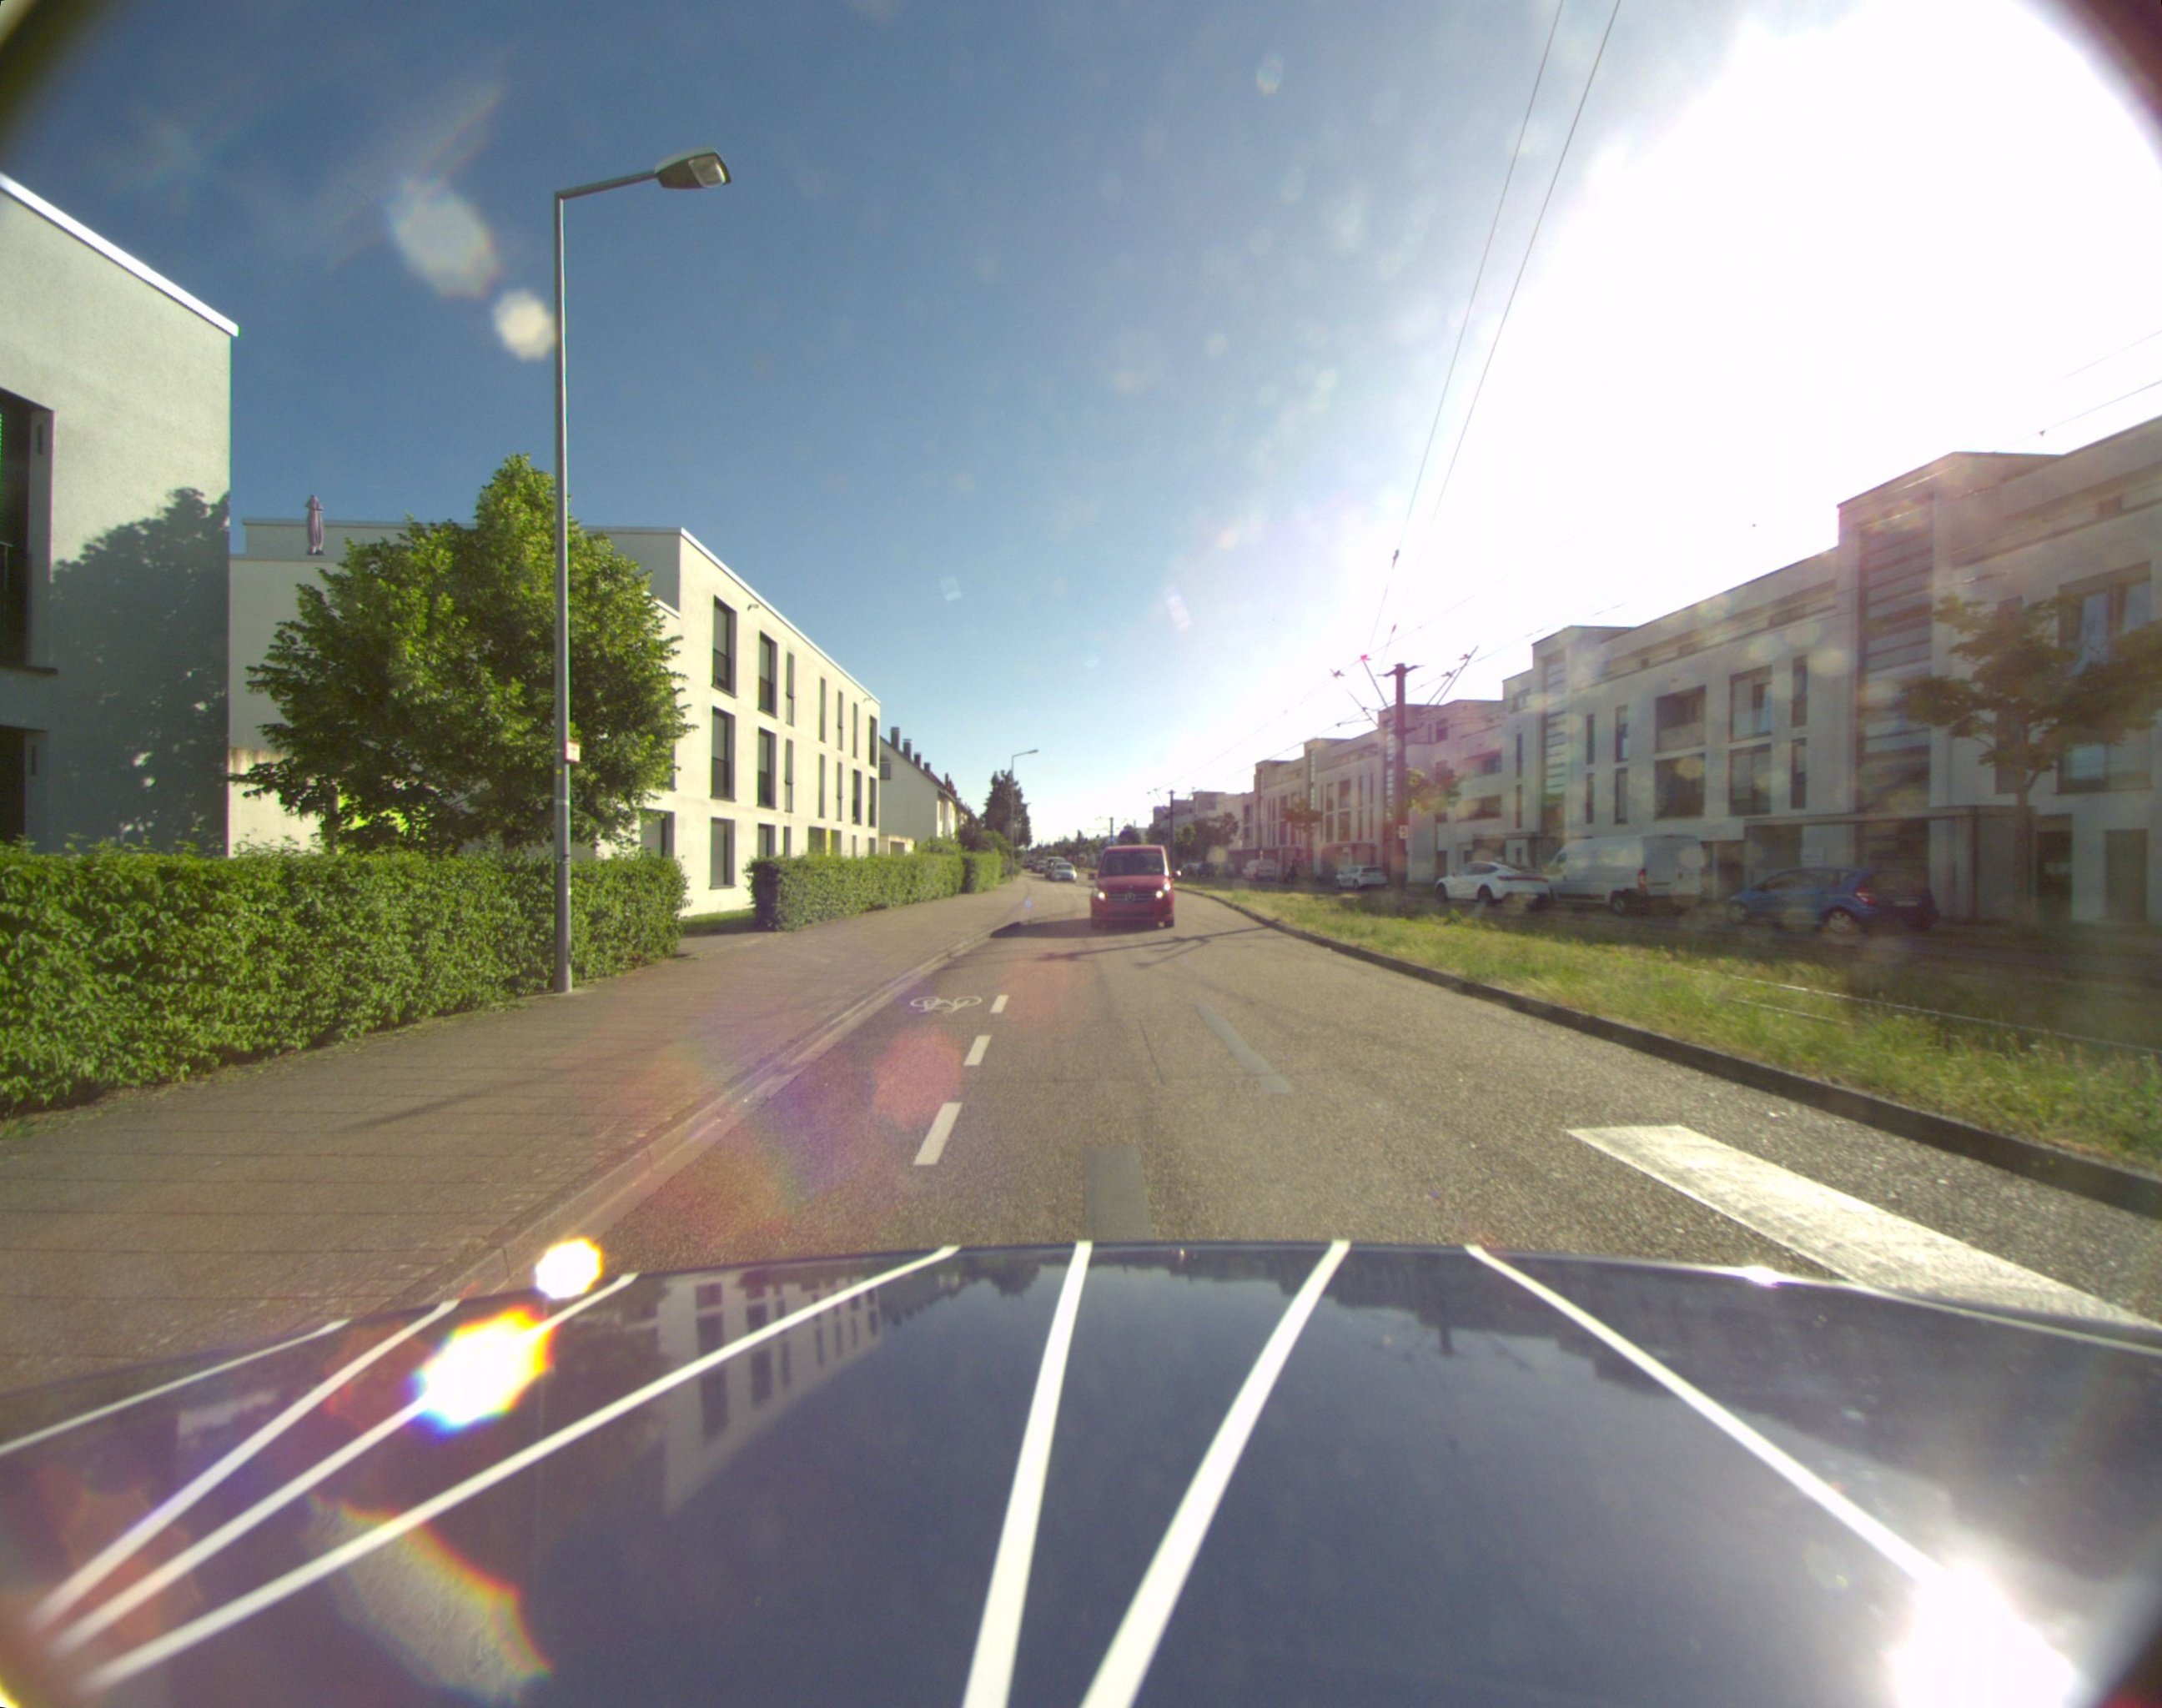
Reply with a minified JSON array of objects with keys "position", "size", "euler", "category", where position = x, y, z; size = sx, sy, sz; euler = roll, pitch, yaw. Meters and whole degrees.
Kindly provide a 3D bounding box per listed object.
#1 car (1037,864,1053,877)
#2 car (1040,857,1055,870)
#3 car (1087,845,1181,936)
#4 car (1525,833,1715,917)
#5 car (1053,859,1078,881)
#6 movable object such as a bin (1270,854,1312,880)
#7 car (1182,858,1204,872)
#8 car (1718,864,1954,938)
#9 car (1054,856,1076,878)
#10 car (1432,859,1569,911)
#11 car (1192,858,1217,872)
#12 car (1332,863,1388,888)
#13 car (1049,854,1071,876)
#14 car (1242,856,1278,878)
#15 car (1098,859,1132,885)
[{"position":[-4.220,1.960,89.967],"size":[1.700,1.466,4.013],"euler":[2,0,-1],"category":"car"},{"position":[-4.306,1.220,97.519],"size":[1.700,1.604,4.013],"euler":[2,0,-1],"category":"car"},{"position":[1.304,0.813,19.013],"size":[1.979,1.922,5.206],"euler":[-2,0,3],"category":"car"},{"position":[17.598,0.642,25.283],"size":[2.146,2.430,5.589],"euler":[-1,0,-2],"category":"car"},{"position":[-1.141,1.152,56.525],"size":[1.700,1.466,4.013],"euler":[2,0,-1],"category":"car"},{"position":[15.961,0.963,57.981],"size":[1.766,1.926,4.155],"euler":[-1,0,-5],"category":"movable object such as a bin"},{"position":[13.428,1.327,91.426],"size":[1.766,1.590,4.155],"euler":[-1,0,-5],"category":"car"},{"position":[17.837,1.039,18.248],"size":[1.829,1.527,3.842],"euler":[-1,0,-1],"category":"car"},{"position":[-1.318,1.071,62.328],"size":[1.700,1.692,4.013],"euler":[2,0,-1],"category":"car"},{"position":[14.438,0.999,26.524],"size":[1.999,1.586,4.646],"euler":[2,-1,-3],"category":"car"},{"position":[13.904,1.233,85.798],"size":[1.766,1.590,4.155],"euler":[-1,0,-5],"category":"car"},{"position":[16.724,1.255,45.712],"size":[1.521,1.423,4.155],"euler":[-1,0,-5],"category":"car"},{"position":[-1.979,1.038,72.402],"size":[1.893,1.951,4.013],"euler":[2,0,-1],"category":"car"},{"position":[15.539,1.123,66.134],"size":[1.766,1.859,4.155],"euler":[-1,0,-5],"category":"car"},{"position":[2.140,1.132,49.268],"size":[1.893,1.506,3.753],"euler":[2,0,-1],"category":"car"}]
